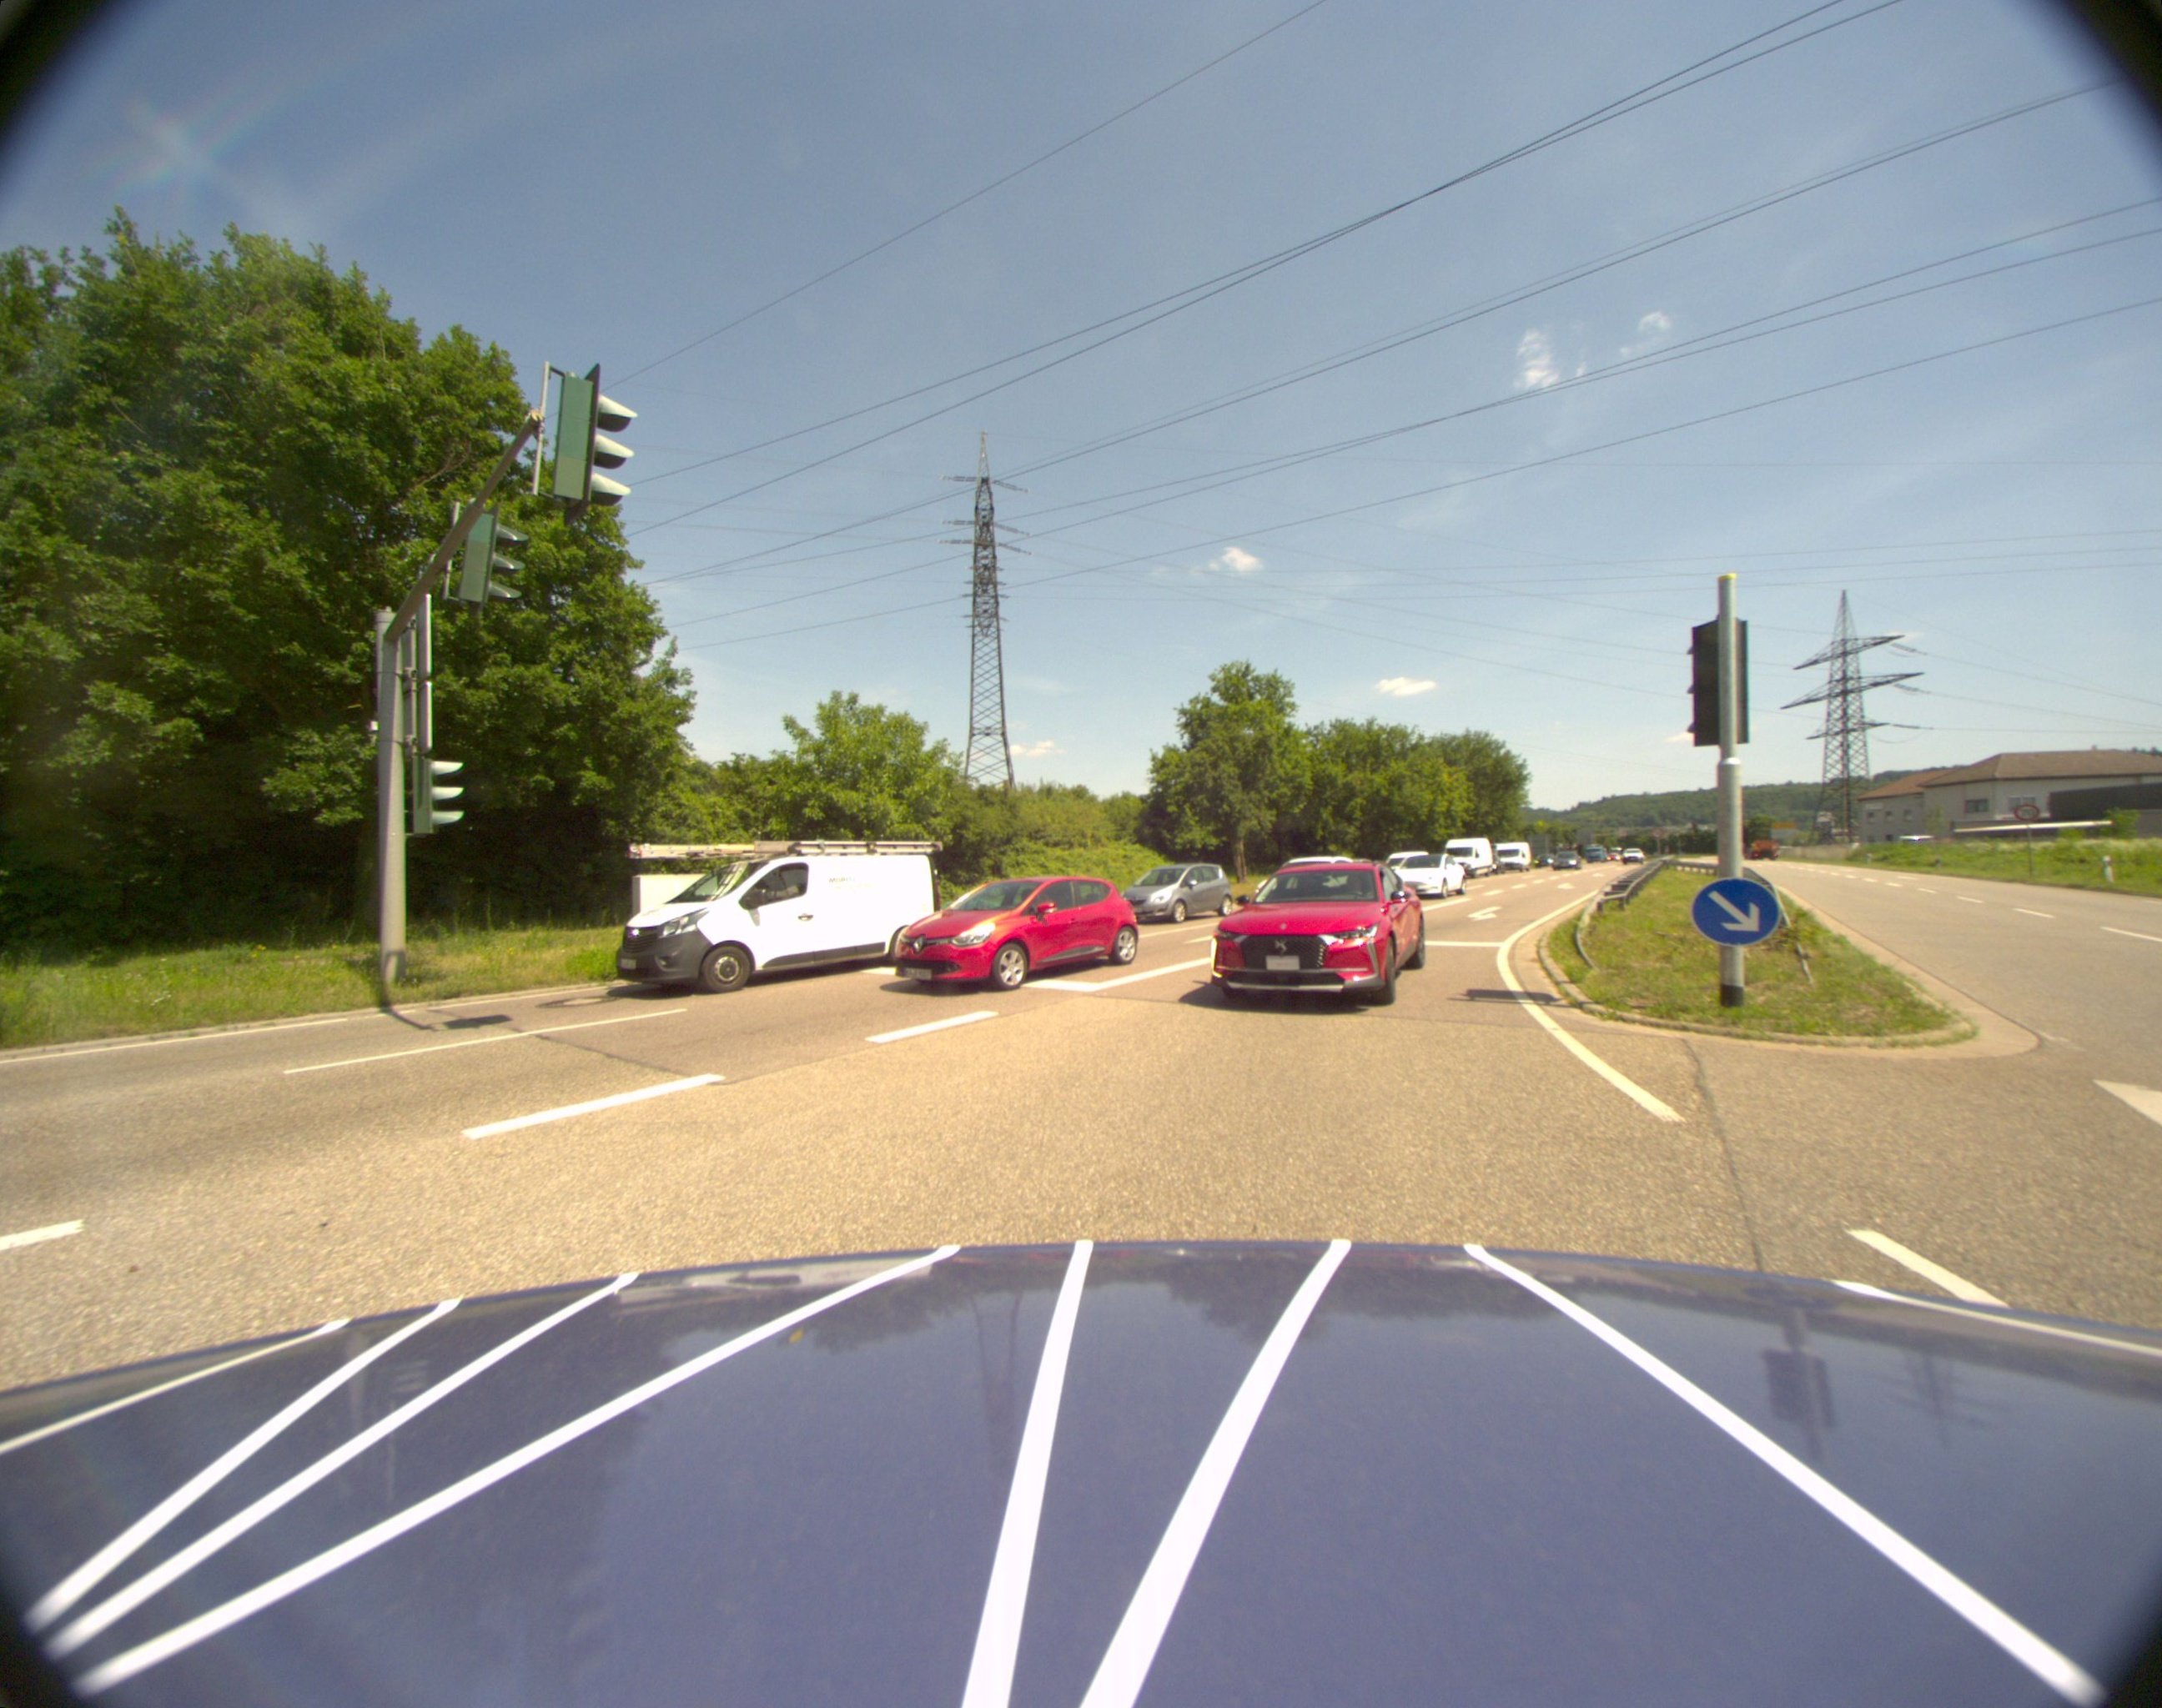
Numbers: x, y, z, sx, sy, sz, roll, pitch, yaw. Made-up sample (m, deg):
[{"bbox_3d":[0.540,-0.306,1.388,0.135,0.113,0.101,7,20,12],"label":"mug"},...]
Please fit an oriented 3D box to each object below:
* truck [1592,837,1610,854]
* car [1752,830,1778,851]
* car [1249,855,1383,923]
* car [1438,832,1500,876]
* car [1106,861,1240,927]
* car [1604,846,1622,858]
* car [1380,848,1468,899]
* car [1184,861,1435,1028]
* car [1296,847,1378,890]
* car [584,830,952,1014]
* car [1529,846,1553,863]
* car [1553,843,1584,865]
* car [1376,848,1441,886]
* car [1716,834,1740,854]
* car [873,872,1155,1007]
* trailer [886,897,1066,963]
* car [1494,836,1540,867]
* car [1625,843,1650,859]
[{"bbox_3d":[83.867,-1.390,122.530,2.166,2.427,4.920,-3,0,37],"label":"truck"},{"bbox_3d":[102.773,-1.947,114.228,2.601,3.043,5.650,-1,0,38],"label":"car"},{"bbox_3d":[6.348,0.872,20.213,1.847,1.559,4.372,-3,-1,39],"label":"car"},{"bbox_3d":[25.718,-0.028,50.177,2.228,2.591,7.033,-3,-1,38],"label":"car"},{"bbox_3d":[2.700,1.058,21.560,1.765,1.586,4.173,-2,0,39],"label":"car"},{"bbox_3d":[94.793,-0.386,135.414,1.995,2.002,4.008,-3,0,43],"label":"car"},{"bbox_3d":[12.704,0.698,28.003,2.018,1.671,4.008,-3,-1,37],"label":"car"},{"bbox_3d":[3.034,0.893,9.316,1.843,1.453,4.422,-3,-1,31],"label":"car"},{"bbox_3d":[10.614,0.583,31.341,1.744,1.584,4.281,-3,-1,39],"label":"car"},{"bbox_3d":[-4.706,0.870,12.235,1.934,2.335,5.085,-3,-1,39],"label":"car"},{"bbox_3d":[50.296,0.051,83.040,1.874,1.674,4.008,-3,0,37],"label":"car"},{"bbox_3d":[41.107,-0.038,64.007,1.874,1.674,4.008,-3,0,37],"label":"car"},{"bbox_3d":[17.119,0.647,39.585,1.806,1.790,5.048,-3,-1,38],"label":"car"},{"bbox_3d":[102.098,-1.571,119.902,2.601,3.043,5.650,-1,0,38],"label":"car"},{"bbox_3d":[-0.769,1.081,11.067,1.744,1.453,4.073,-3,-1,37],"label":"car"},{"bbox_3d":[-2.059,1.484,15.535,1.707,1.000,3.330,-3,-1,39],"label":"trailer"},{"bbox_3d":[36.527,-0.221,63.613,2.304,2.408,5.826,-3,-1,39],"label":"car"},{"bbox_3d":[62.883,-0.380,85.848,1.994,1.752,4.008,-1,0,40],"label":"car"}]
